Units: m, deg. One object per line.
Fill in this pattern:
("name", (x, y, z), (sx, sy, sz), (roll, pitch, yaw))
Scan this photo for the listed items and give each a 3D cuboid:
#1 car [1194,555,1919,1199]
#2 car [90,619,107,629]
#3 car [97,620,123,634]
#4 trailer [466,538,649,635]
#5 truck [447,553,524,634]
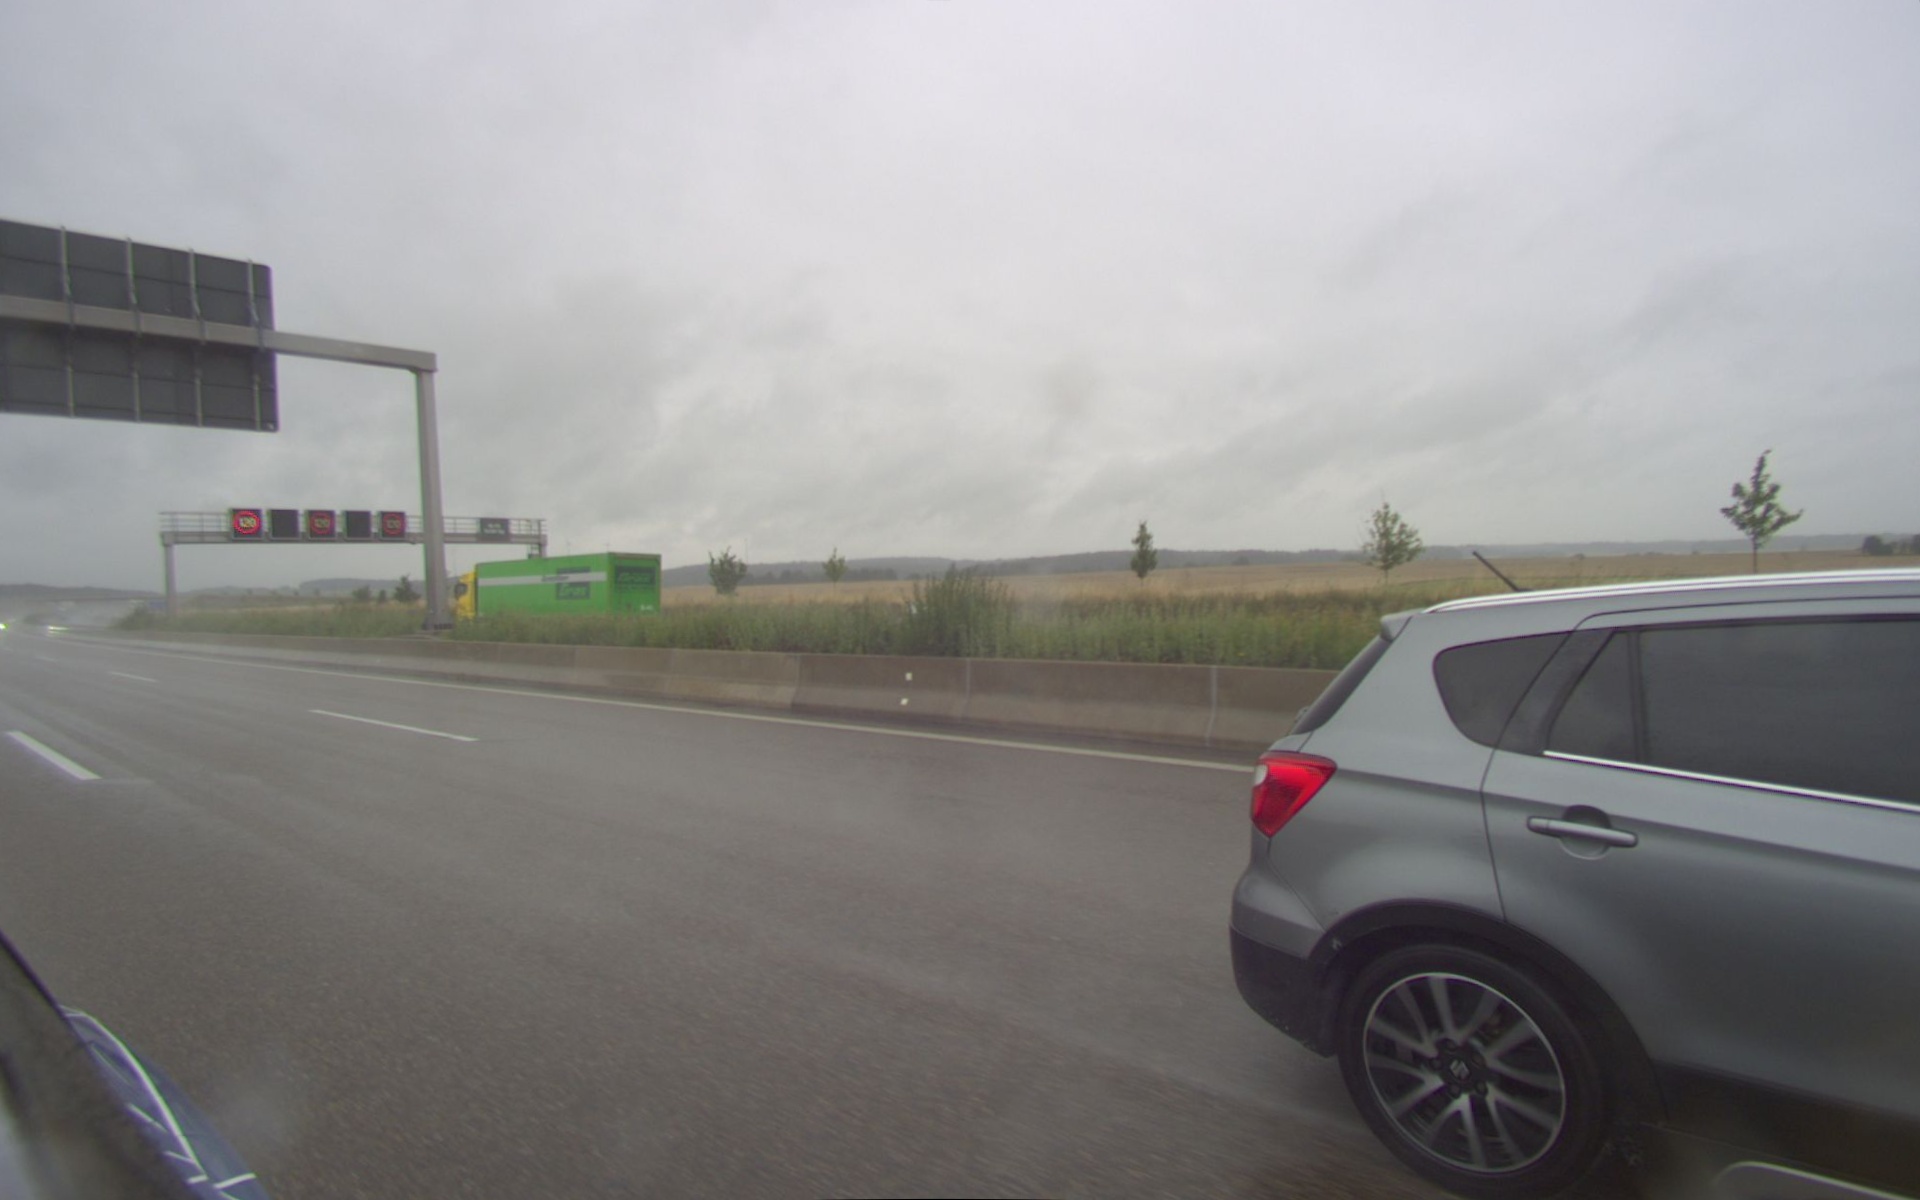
("car", (3.056, 0.655, 2.023), (4.756, 1.524, 1.826), (-1, 0, 43))
("car", (-132.381, 3.700, 155.474), (4.002, 1.497, 1.675), (-1, -1, 45))
("car", (-107.681, 3.421, 128.150), (4.444, 1.696, 1.972), (-1, 0, 43))
("trailer", (-19.544, -0.458, 48.218), (14.299, 4.070, 1.972), (-1, -1, 42))
("truck", (-24.945, -0.293, 53.128), (4.819, 4.021, 1.988), (-1, -1, 42))
